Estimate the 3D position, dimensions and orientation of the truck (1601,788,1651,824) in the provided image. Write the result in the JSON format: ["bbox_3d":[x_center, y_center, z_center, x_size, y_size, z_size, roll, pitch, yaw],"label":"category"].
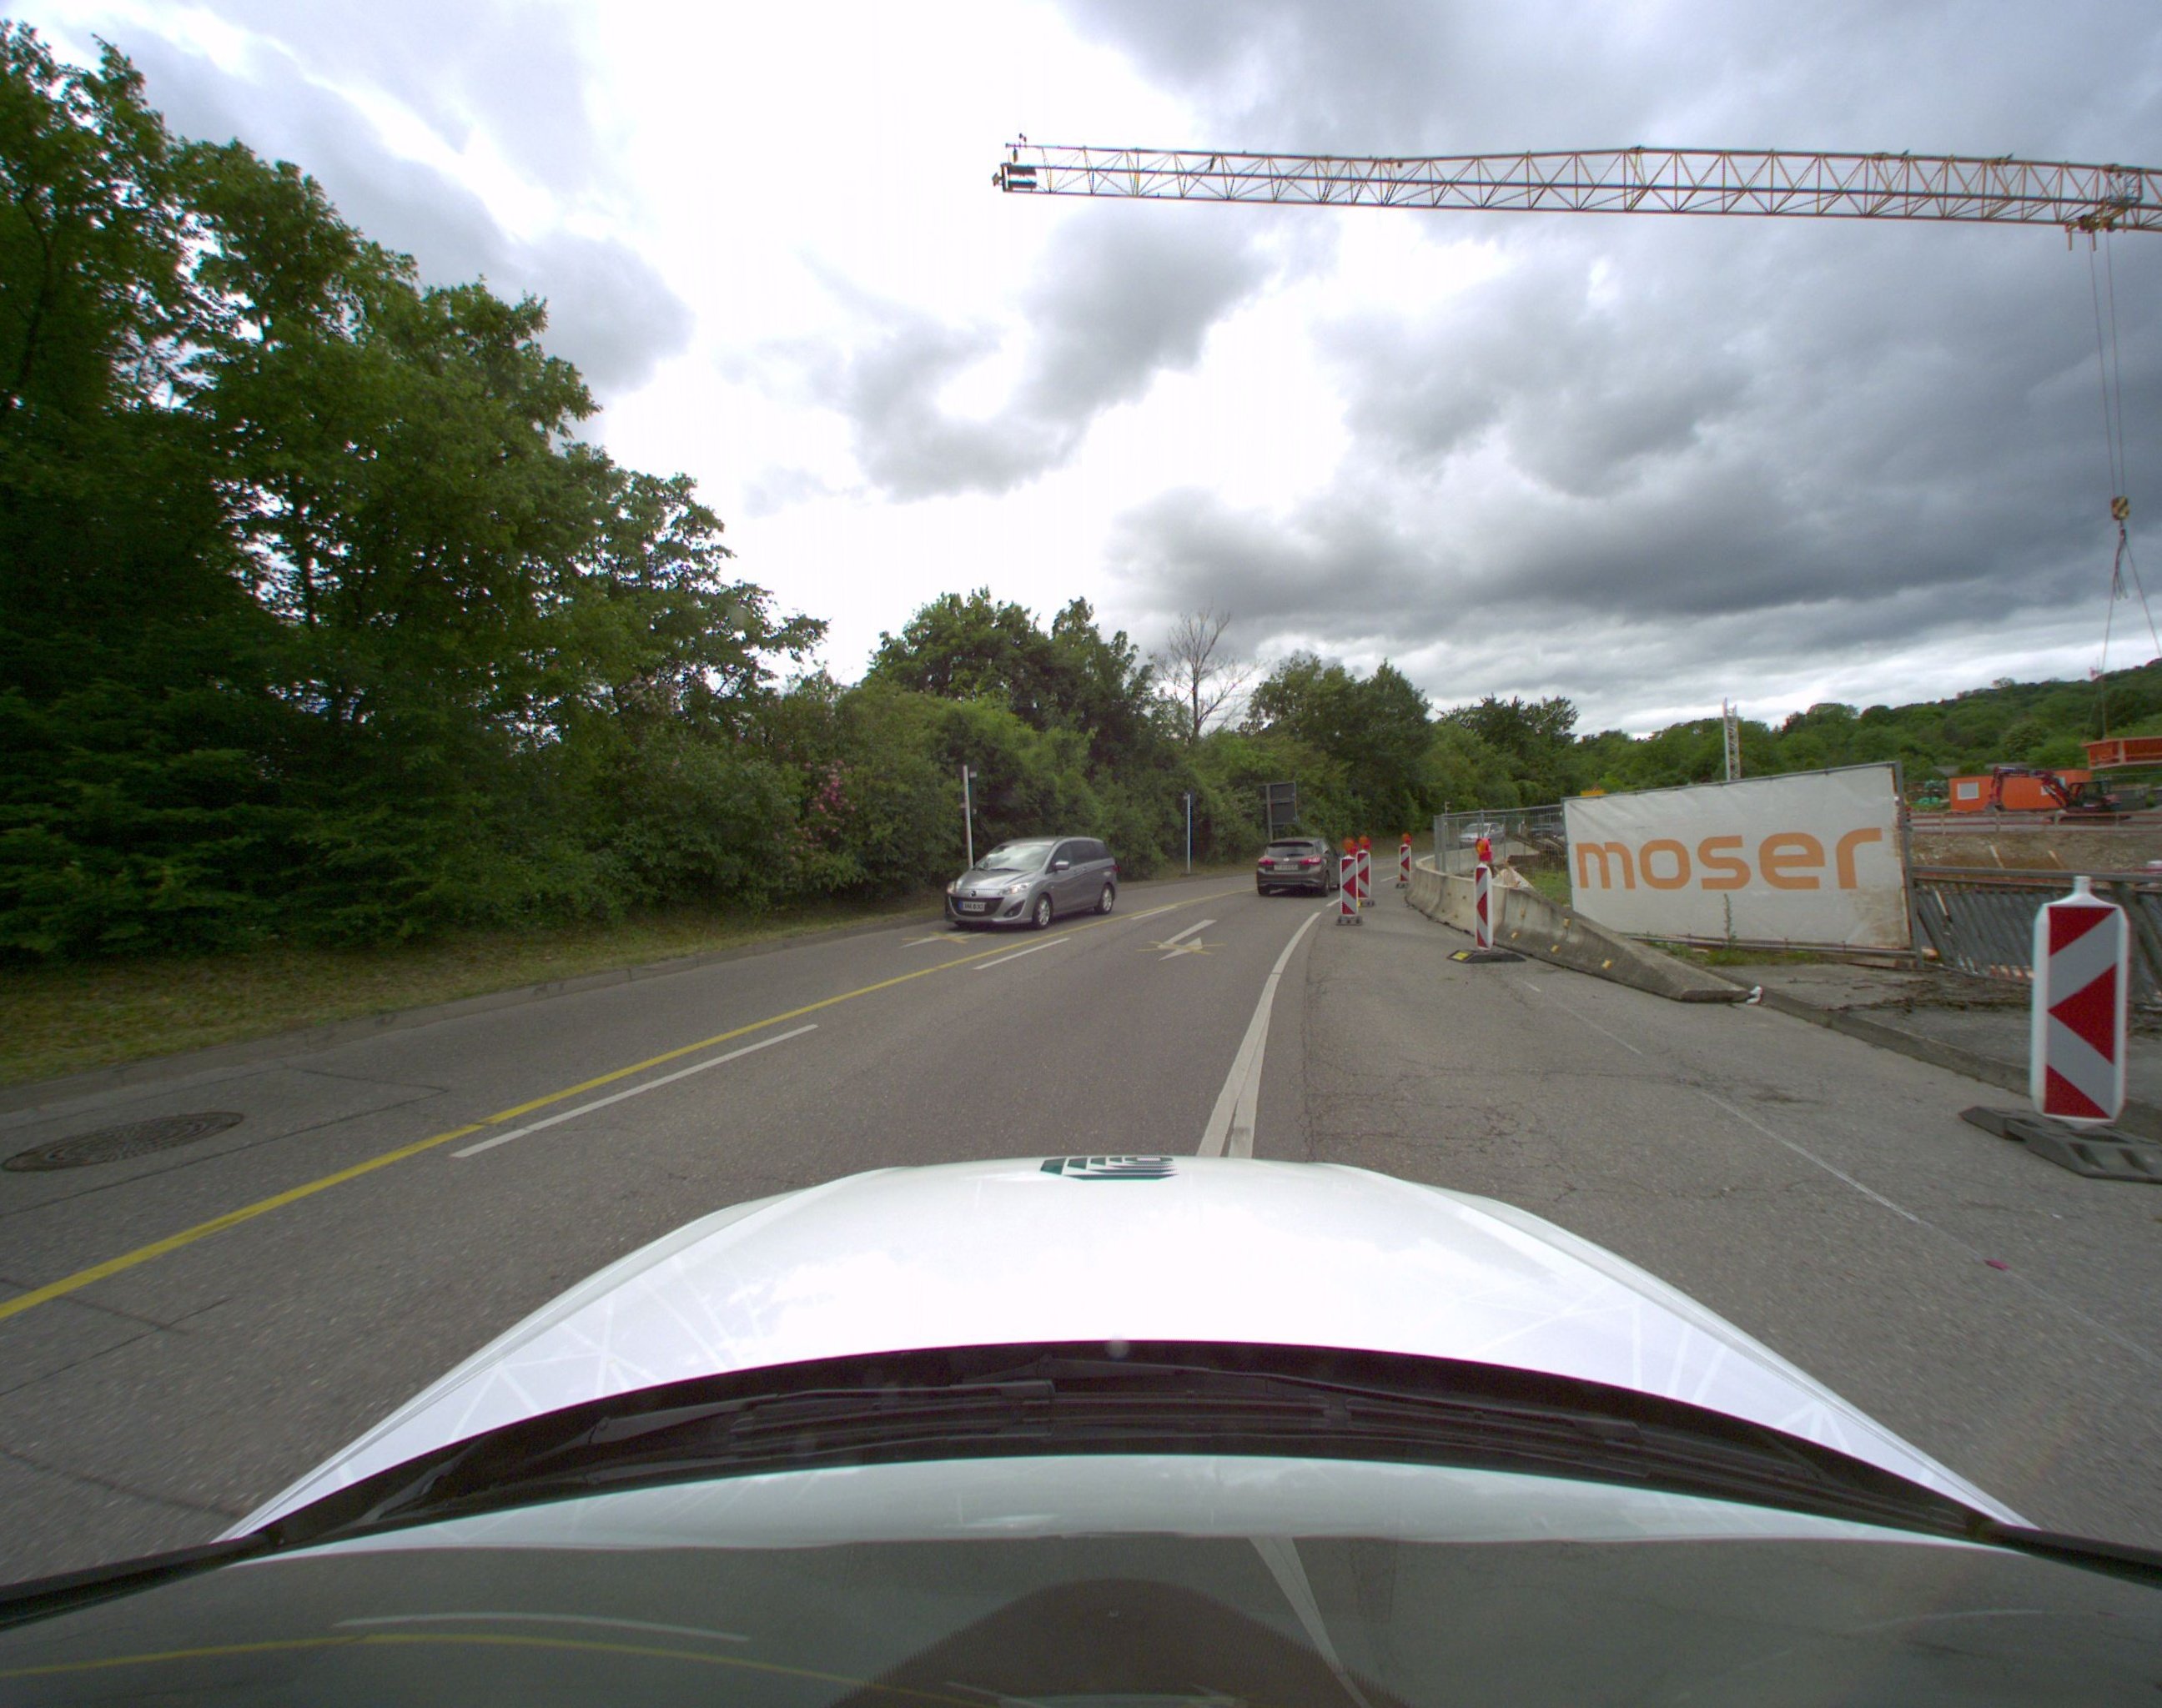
[{"bbox_3d":[56.064,-4.957,83.655,2.793,3.335,8.433,-3,1,43],"label":"truck"}]

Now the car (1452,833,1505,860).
[{"bbox_3d":[24.625,-0.493,50.387,1.641,1.552,4.212,0,2,45],"label":"car"}]

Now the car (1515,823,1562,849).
[{"bbox_3d":[28.367,-1.129,50.486,1.802,1.552,3.812,-1,1,41],"label":"car"}]

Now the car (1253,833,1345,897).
[{"bbox_3d":[6.000,0.229,22.110,1.781,1.552,4.023,-1,1,24],"label":"car"}]

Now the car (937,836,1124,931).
[{"bbox_3d":[-0.772,0.452,15.525,1.617,1.545,4.376,-1,0,25],"label":"car"}]

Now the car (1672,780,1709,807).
[{"bbox_3d":[53.063,-5.226,70.879,4.024,2.013,1.975,-3,-1,-45],"label":"car"}]

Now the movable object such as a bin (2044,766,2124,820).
[{"bbox_3d":[62.098,-3.717,50.482,2.765,3.077,1.852,-4,-1,42],"label":"movable object such as a bin"}]
